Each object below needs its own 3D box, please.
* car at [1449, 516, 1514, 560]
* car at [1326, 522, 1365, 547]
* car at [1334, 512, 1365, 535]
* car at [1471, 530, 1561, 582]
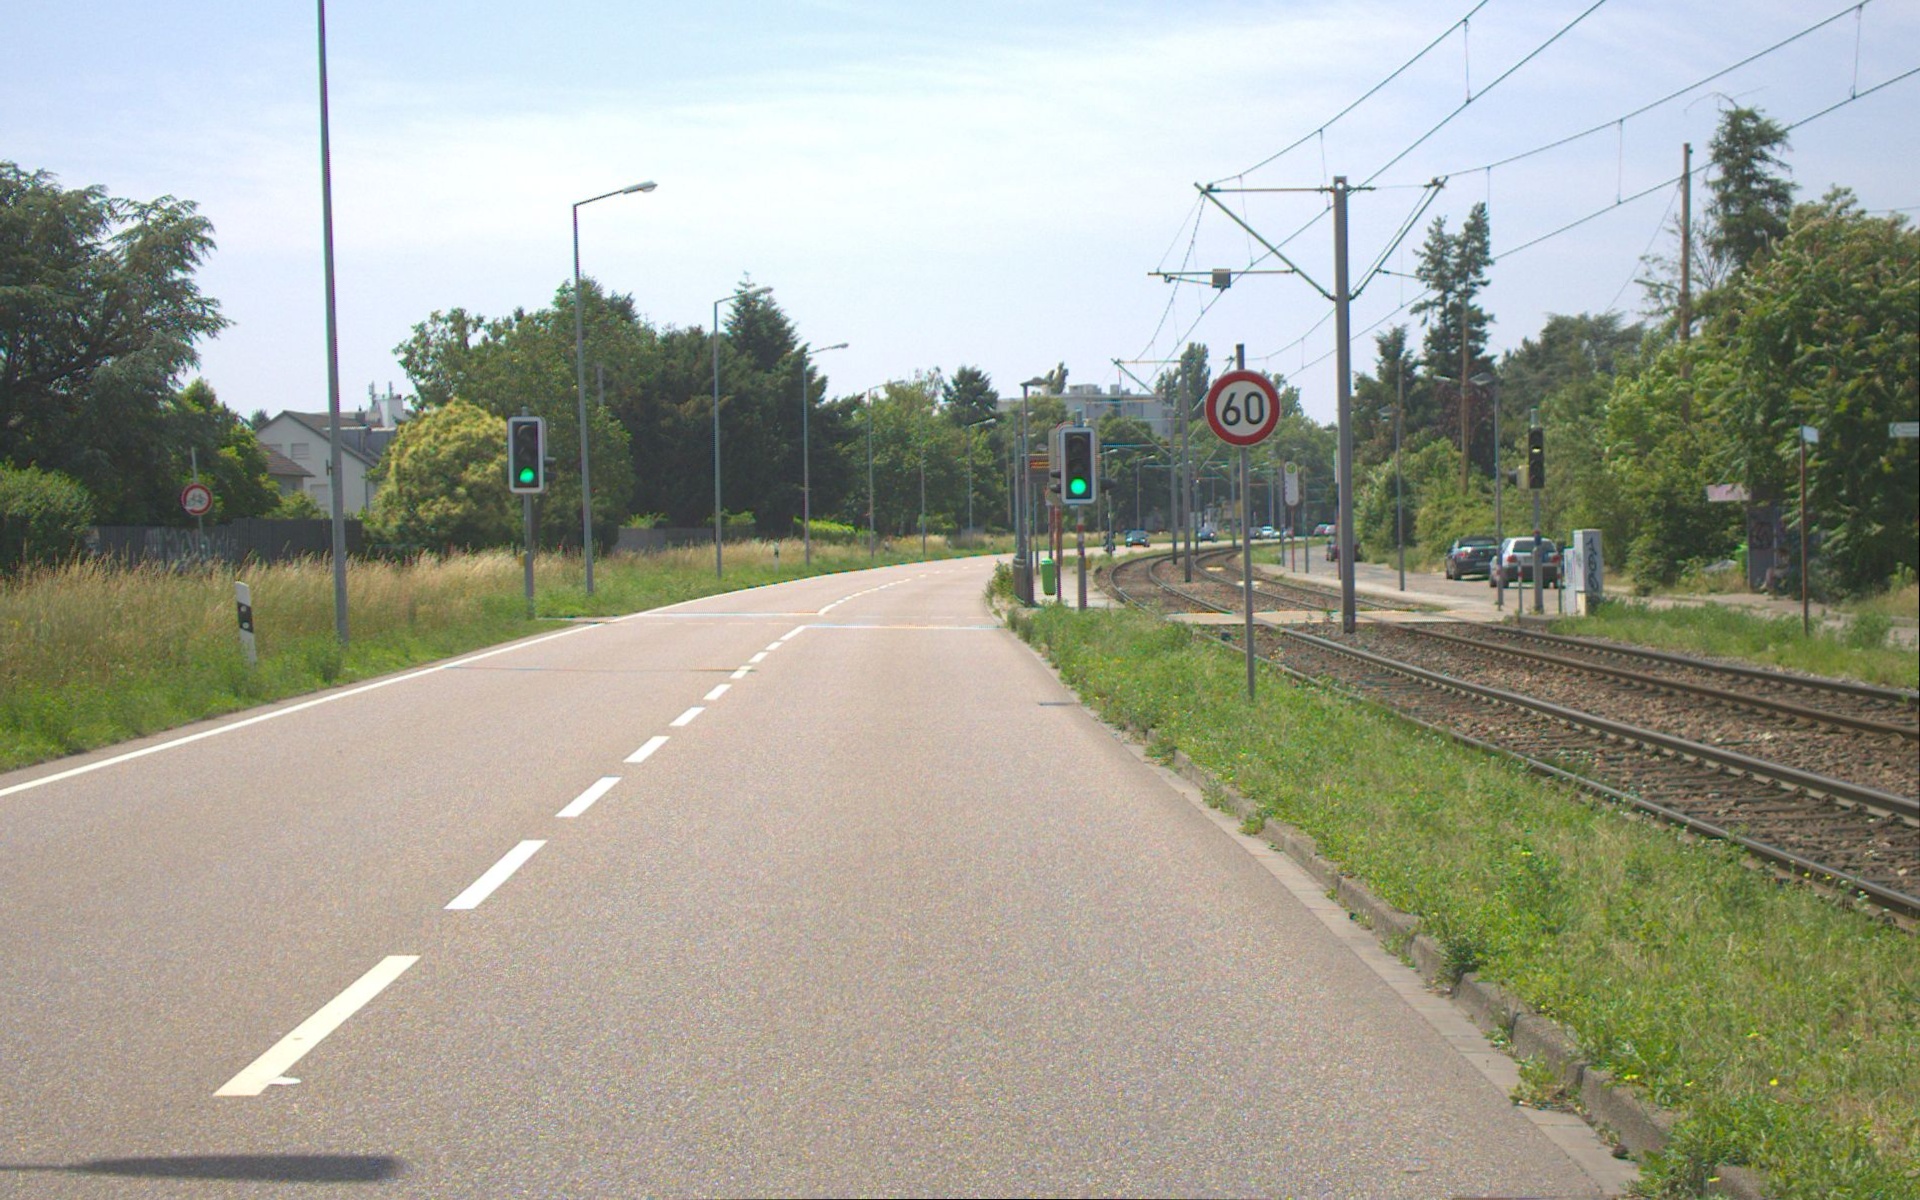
[{"bbox_3d":[17.308,-2.052,114.280,1.620,1.417,4.873,0,1,2],"label":"car"},{"bbox_3d":[20.543,-3.494,183.325,1.861,1.325,4.515,0,1,3],"label":"car"},{"bbox_3d":[24.595,-4.839,217.142,1.914,1.465,3.999,0,1,6],"label":"car"},{"bbox_3d":[15.420,-1.231,95.573,1.939,1.417,4.000,0,1,2],"label":"car"}]
